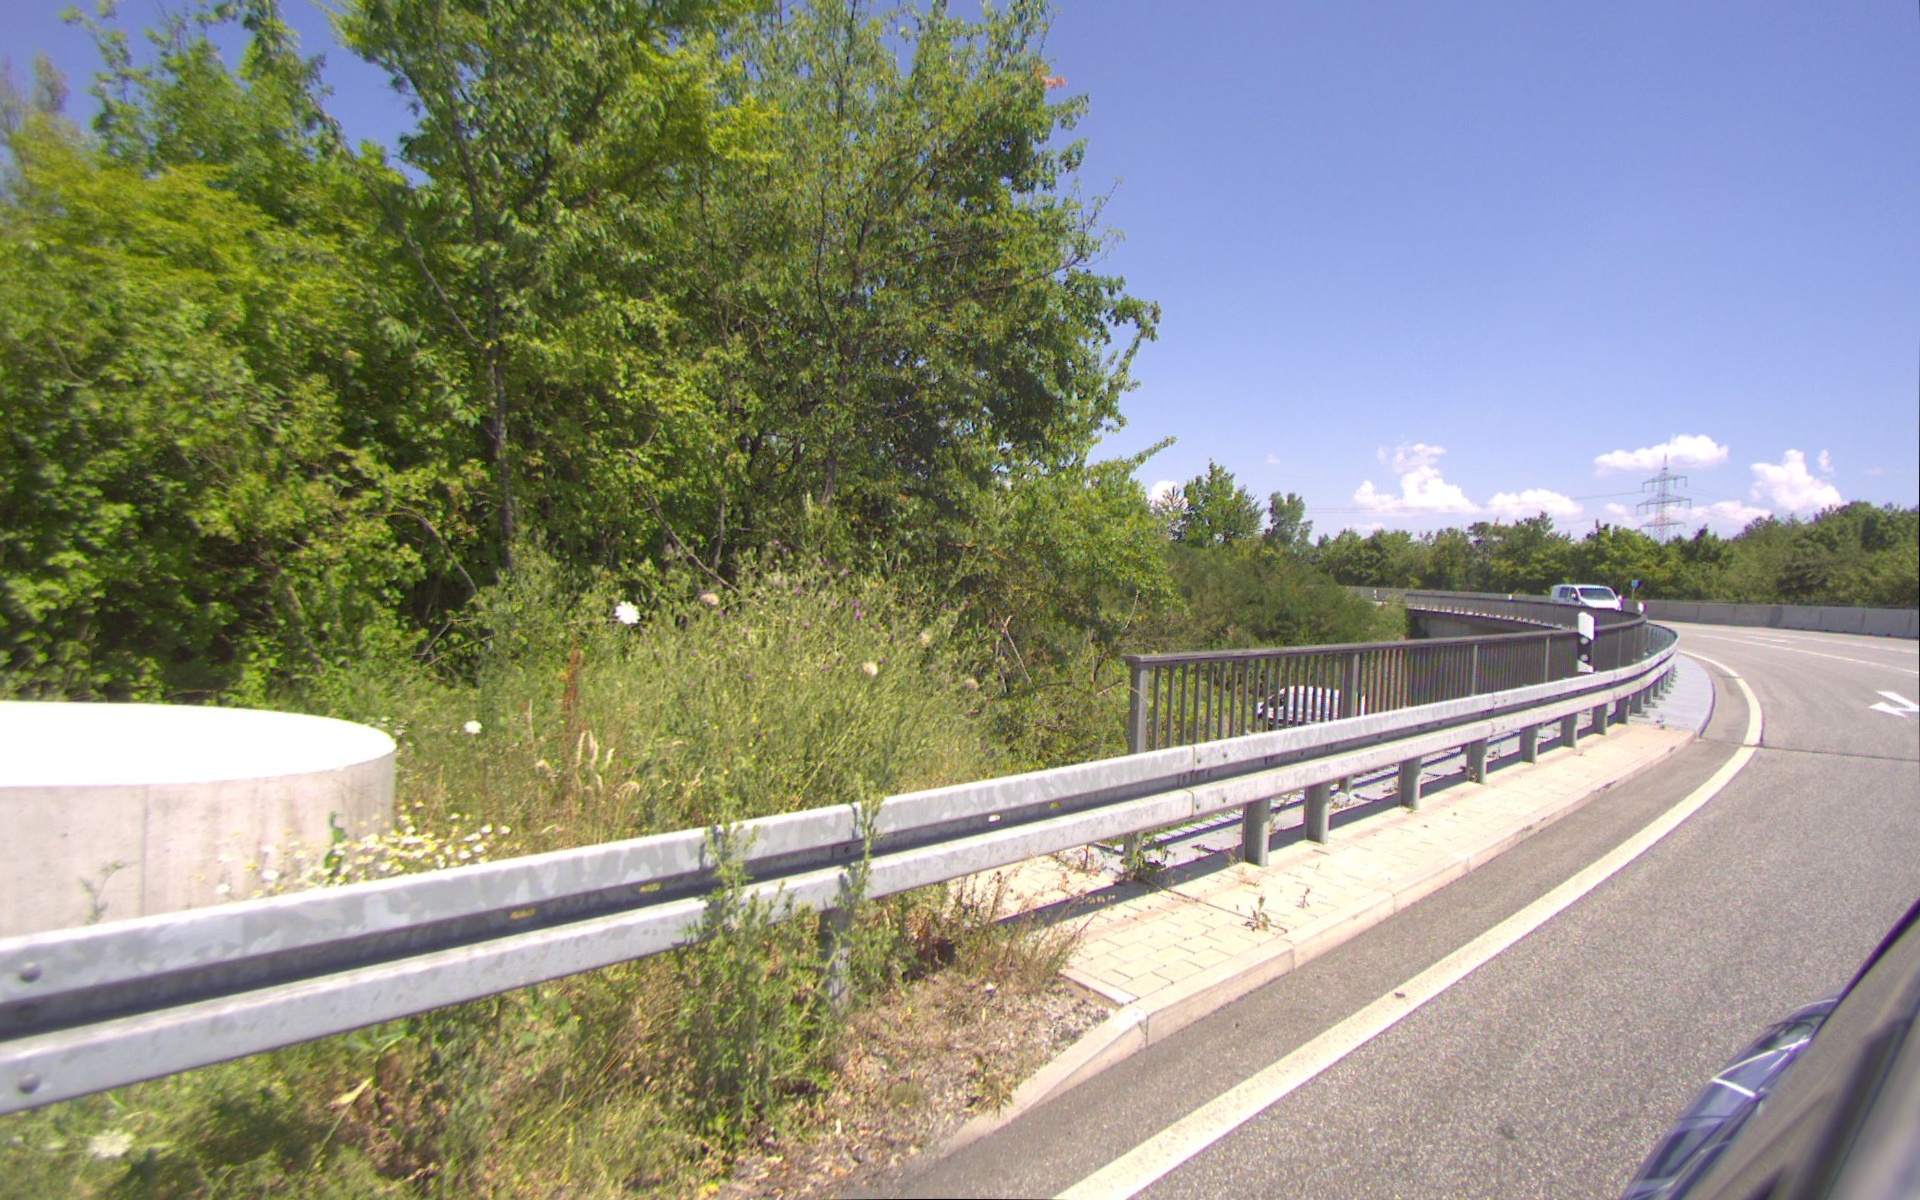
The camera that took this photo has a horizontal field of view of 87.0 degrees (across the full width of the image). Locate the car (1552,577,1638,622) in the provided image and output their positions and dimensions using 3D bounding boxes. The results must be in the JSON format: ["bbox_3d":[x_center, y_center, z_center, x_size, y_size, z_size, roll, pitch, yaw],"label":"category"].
[{"bbox_3d":[32.299,-0.093,51.705,2.003,2.110,5.845,2,2,15],"label":"car"}]
